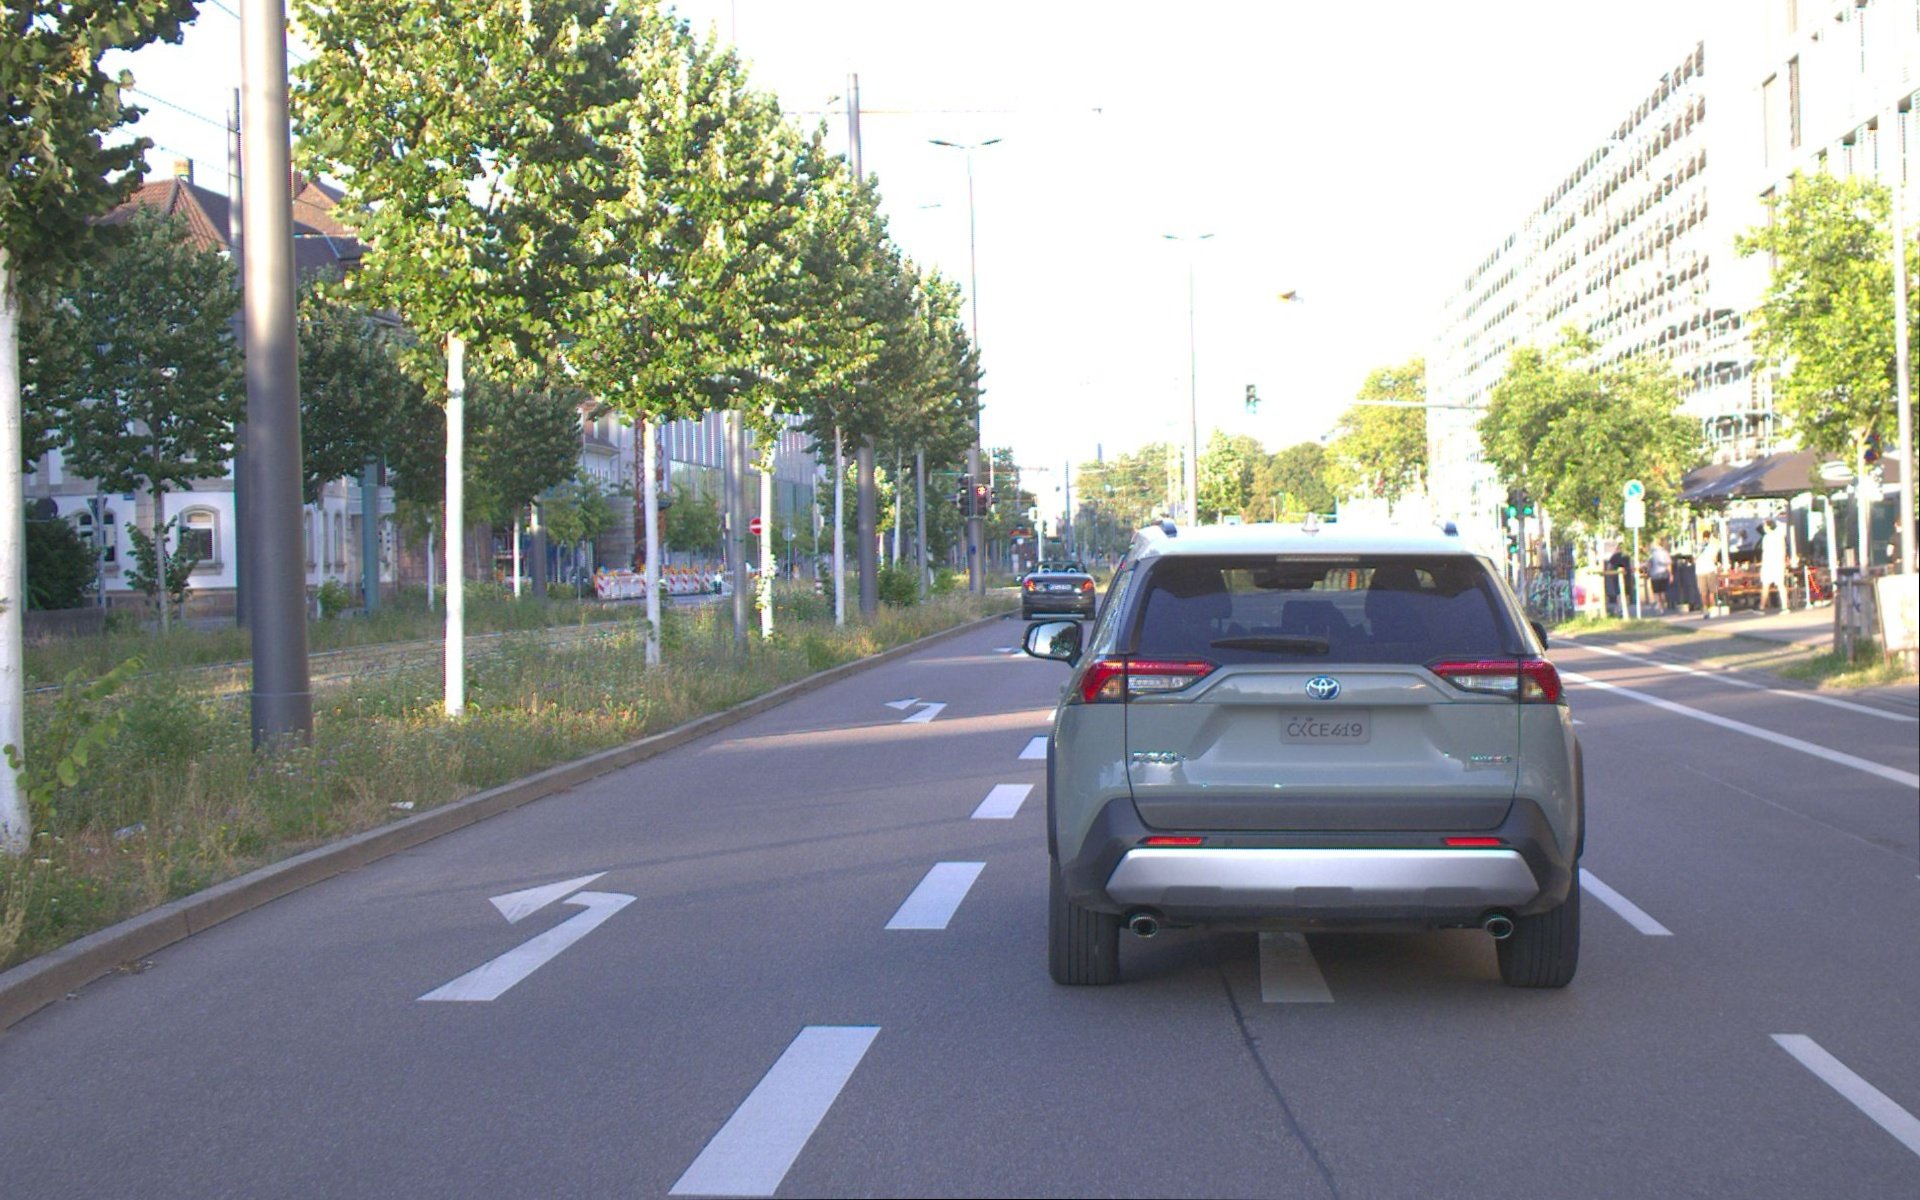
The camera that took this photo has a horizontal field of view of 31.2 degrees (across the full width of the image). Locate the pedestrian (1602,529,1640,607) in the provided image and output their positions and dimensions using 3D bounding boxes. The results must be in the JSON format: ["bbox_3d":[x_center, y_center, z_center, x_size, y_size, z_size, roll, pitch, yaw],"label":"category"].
[{"bbox_3d":[14.769,-0.717,76.828,0.653,1.696,0.689,-3,1,3],"label":"pedestrian"}]

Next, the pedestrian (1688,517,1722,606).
[{"bbox_3d":[15.198,-0.785,70.169,0.576,1.780,0.828,-3,-1,11],"label":"pedestrian"}]

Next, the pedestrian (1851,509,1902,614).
[{"bbox_3d":[16.621,-0.705,62.333,0.744,1.842,0.940,-4,0,13],"label":"pedestrian"}]

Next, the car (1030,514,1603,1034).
[{"bbox_3d":[1.343,0.510,13.216,1.834,1.667,4.282,0,1,5],"label":"car"}]

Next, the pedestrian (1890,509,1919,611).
[{"bbox_3d":[17.326,-0.742,62.373,0.756,1.818,0.940,-3,0,13],"label":"pedestrian"}]

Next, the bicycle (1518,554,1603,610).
[{"bbox_3d":[13.869,-0.427,79.427,1.793,1.189,0.568,-3,1,-1],"label":"bicycle"}]

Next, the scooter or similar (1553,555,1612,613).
[{"bbox_3d":[13.696,-0.360,75.639,1.129,1.209,0.531,-3,-1,19],"label":"scooter or similar"}]

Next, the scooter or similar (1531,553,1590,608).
[{"bbox_3d":[13.769,-0.456,78.885,1.209,1.197,0.480,-3,1,-1],"label":"scooter or similar"}]

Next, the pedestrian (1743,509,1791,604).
[{"bbox_3d":[16.299,-0.875,69.433,0.825,1.882,0.866,-3,-1,12],"label":"pedestrian"}]

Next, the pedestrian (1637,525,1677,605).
[{"bbox_3d":[15.583,-0.787,76.871,0.685,1.729,0.761,-3,1,3],"label":"pedestrian"}]

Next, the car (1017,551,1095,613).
[{"bbox_3d":[2.256,-0.434,79.746,1.674,1.347,4.000,0,1,4],"label":"car"}]
